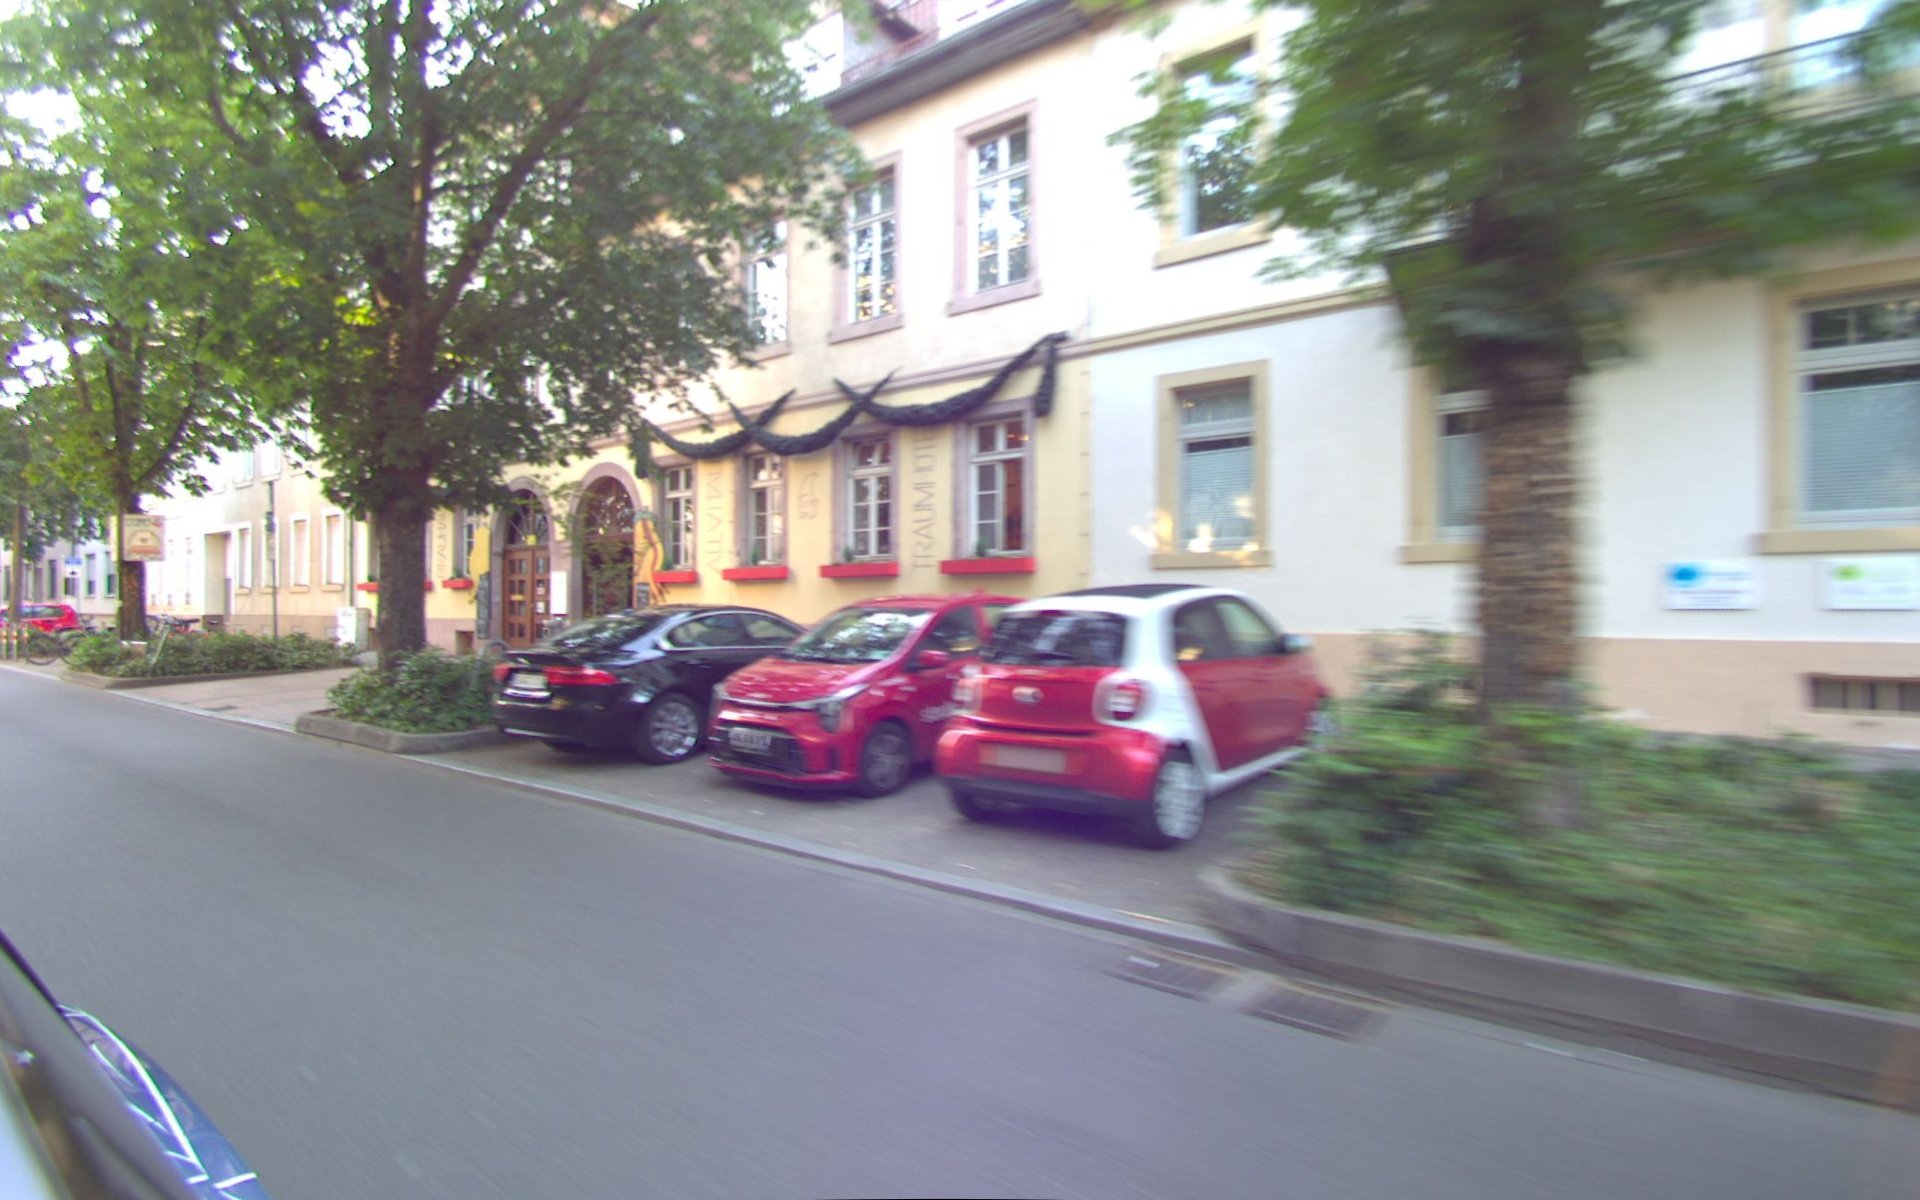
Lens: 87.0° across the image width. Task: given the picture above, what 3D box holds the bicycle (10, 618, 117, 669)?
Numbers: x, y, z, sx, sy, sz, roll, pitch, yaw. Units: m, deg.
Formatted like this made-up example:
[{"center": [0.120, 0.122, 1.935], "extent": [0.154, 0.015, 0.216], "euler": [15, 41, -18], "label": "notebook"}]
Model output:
[{"center": [-21.571, 1.019, 24.387], "extent": [0.479, 1.106, 1.849], "euler": [0, 1, 32], "label": "bicycle"}]

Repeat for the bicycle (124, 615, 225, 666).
[{"center": [-18.695, 0.933, 24.133], "extent": [0.479, 1.107, 1.849], "euler": [0, 1, 32], "label": "bicycle"}]

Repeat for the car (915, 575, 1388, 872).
[{"center": [1.735, 0.620, 7.731], "extent": [1.770, 1.550, 4.313], "euler": [1, 2, 38], "label": "car"}]

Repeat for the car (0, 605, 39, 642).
[{"center": [-39.233, 0.976, 40.291], "extent": [1.587, 1.430, 3.512], "euler": [-1, 1, 36], "label": "car"}]

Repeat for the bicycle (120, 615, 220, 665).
[{"center": [-19.192, 0.944, 24.626], "extent": [0.508, 1.107, 1.849], "euler": [0, 1, 32], "label": "bicycle"}]

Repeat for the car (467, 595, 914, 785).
[{"center": [-2.477, 0.707, 10.391], "extent": [1.714, 1.417, 4.387], "euler": [1, 2, 35], "label": "car"}]

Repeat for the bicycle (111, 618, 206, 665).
[{"center": [-20.581, 1.048, 26.019], "extent": [0.479, 1.107, 1.849], "euler": [0, 1, 32], "label": "bicycle"}]

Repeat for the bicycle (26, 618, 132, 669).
[{"center": [-20.950, 1.006, 24.110], "extent": [0.479, 1.107, 1.849], "euler": [0, 1, 32], "label": "bicycle"}]

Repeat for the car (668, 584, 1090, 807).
[{"center": [-0.519, 0.642, 8.915], "extent": [1.657, 1.460, 3.649], "euler": [-1, 1, 38], "label": "car"}]

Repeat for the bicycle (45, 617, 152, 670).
[{"center": [-20.381, 1.008, 23.983], "extent": [0.479, 1.153, 1.849], "euler": [0, 1, 32], "label": "bicycle"}]

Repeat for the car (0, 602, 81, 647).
[{"center": [-32.557, 0.869, 34.593], "extent": [1.670, 1.416, 3.457], "euler": [-1, 1, 36], "label": "car"}]

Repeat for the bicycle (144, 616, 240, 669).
[{"center": [-17.579, 0.954, 23.209], "extent": [0.479, 1.107, 1.693], "euler": [0, 1, 32], "label": "bicycle"}]
